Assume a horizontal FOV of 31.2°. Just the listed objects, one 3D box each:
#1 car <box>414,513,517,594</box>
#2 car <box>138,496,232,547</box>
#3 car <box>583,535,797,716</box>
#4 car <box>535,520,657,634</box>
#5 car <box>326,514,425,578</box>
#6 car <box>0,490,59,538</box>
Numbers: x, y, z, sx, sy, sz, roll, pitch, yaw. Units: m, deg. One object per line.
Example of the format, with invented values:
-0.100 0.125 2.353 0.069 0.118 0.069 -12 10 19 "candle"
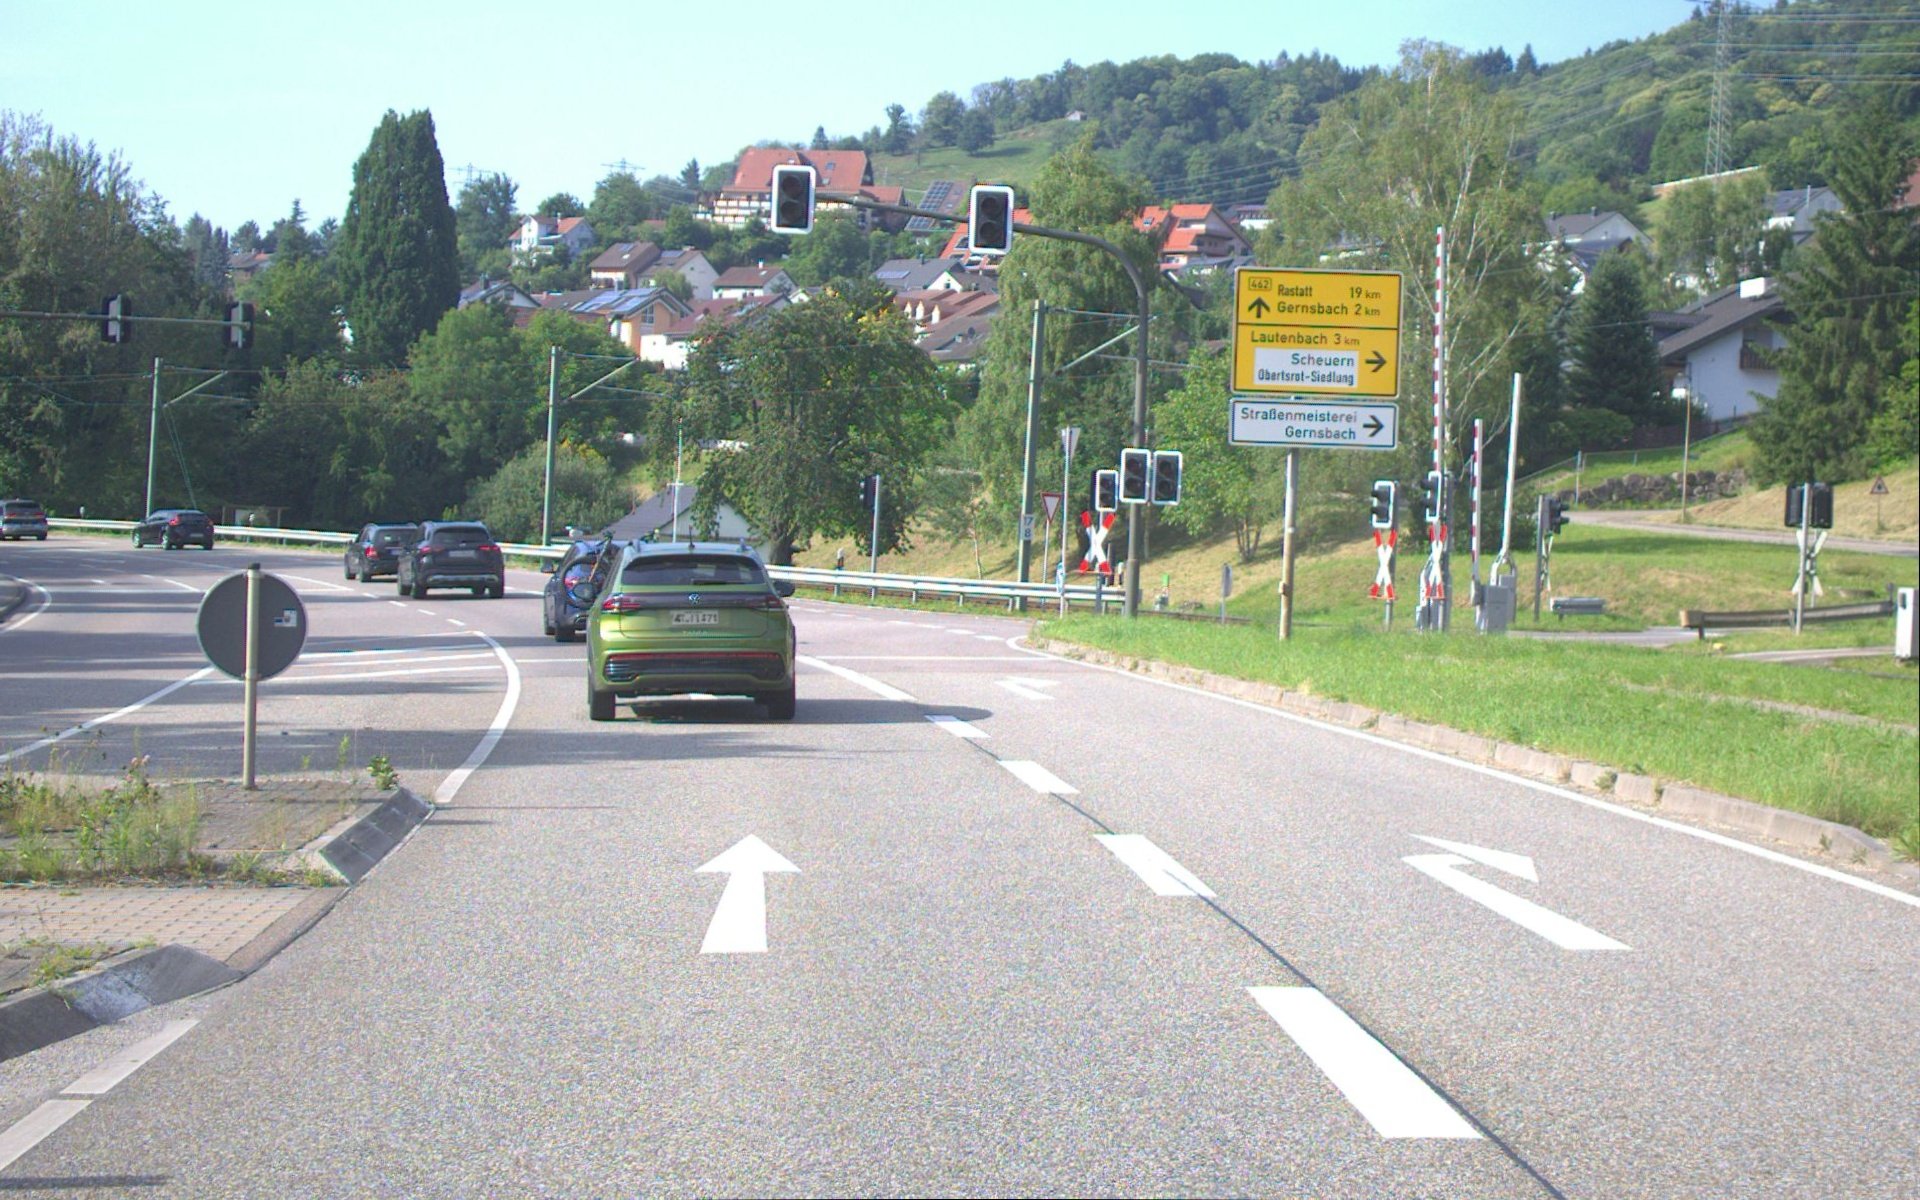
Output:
-10.678 -1.017 74.006 1.879 1.681 4.001 0 1 -13 "car"
-27.689 -2.819 122.777 1.993 1.739 4.000 1 1 -33 "car"
-2.403 0.172 29.860 1.714 1.450 4.001 0 1 -6 "car"
-5.227 -0.352 49.452 1.667 1.554 4.001 0 1 -6 "car"
-14.818 -1.385 87.099 1.848 1.521 3.664 1 2 -19 "car"
-37.078 -3.398 134.616 2.064 1.805 3.999 0 2 -37 "car"
